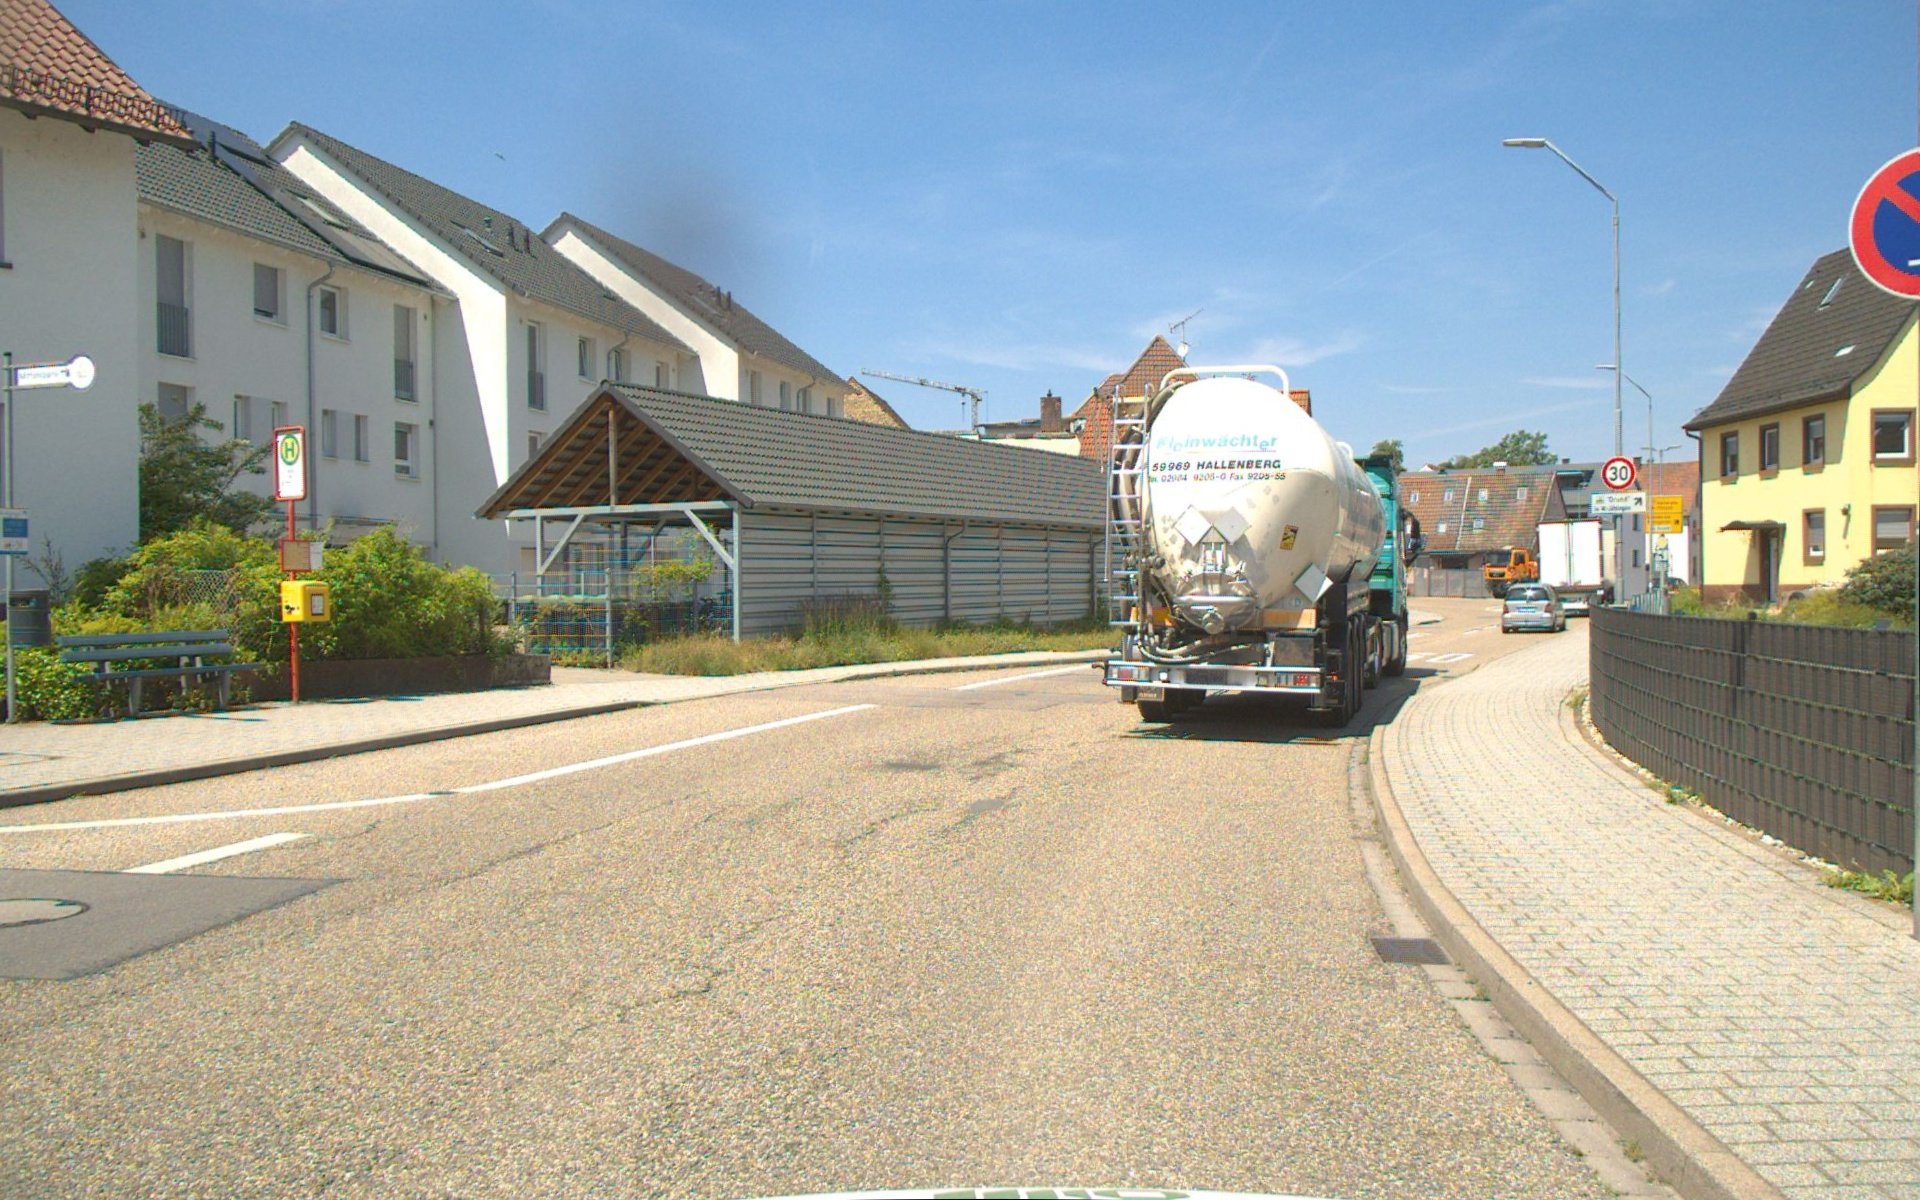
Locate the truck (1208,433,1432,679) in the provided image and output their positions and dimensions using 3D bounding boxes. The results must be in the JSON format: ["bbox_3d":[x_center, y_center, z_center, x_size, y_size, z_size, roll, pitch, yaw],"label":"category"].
[{"bbox_3d":[6.731,-0.732,30.324,2.928,4.034,5.576,0,0,24],"label":"truck"}]

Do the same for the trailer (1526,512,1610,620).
[{"bbox_3d":[26.821,-1.394,72.595,3.068,4.352,12.494,0,0,22],"label":"trailer"}]

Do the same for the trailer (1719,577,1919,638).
[{"bbox_3d":[23.264,0.182,43.970,5.240,1.573,2.137,0,0,-3],"label":"trailer"}]

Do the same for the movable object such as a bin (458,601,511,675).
[{"bbox_3d":[-8.602,0.677,29.943,0.627,1.301,0.694,0,0,25],"label":"movable object such as a bin"}]

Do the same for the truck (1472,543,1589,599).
[{"bbox_3d":[35.416,-1.759,102.571,7.356,3.237,2.644,1,-1,-29],"label":"truck"}]

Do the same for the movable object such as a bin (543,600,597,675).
[{"bbox_3d":[-6.891,0.661,29.254,0.627,1.301,0.694,0,0,25],"label":"movable object such as a bin"}]

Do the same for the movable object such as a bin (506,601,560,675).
[{"bbox_3d":[-7.625,0.668,29.550,0.627,1.301,0.694,0,0,25],"label":"movable object such as a bin"}]

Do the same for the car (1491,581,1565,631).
[{"bbox_3d":[18.084,0.174,52.573,1.806,1.512,3.997,0,0,25],"label":"car"}]

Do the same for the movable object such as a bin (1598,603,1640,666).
[{"bbox_3d":[11.561,0.602,29.020,0.553,1.076,0.651,-1,0,10],"label":"movable object such as a bin"}]

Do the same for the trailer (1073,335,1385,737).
[{"bbox_3d":[4.152,-0.662,22.505,2.890,4.017,11.626,0,0,16],"label":"trailer"}]

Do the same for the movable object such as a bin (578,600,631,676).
[{"bbox_3d":[-6.211,0.652,28.923,0.627,1.301,0.694,0,0,25],"label":"movable object such as a bin"}]
